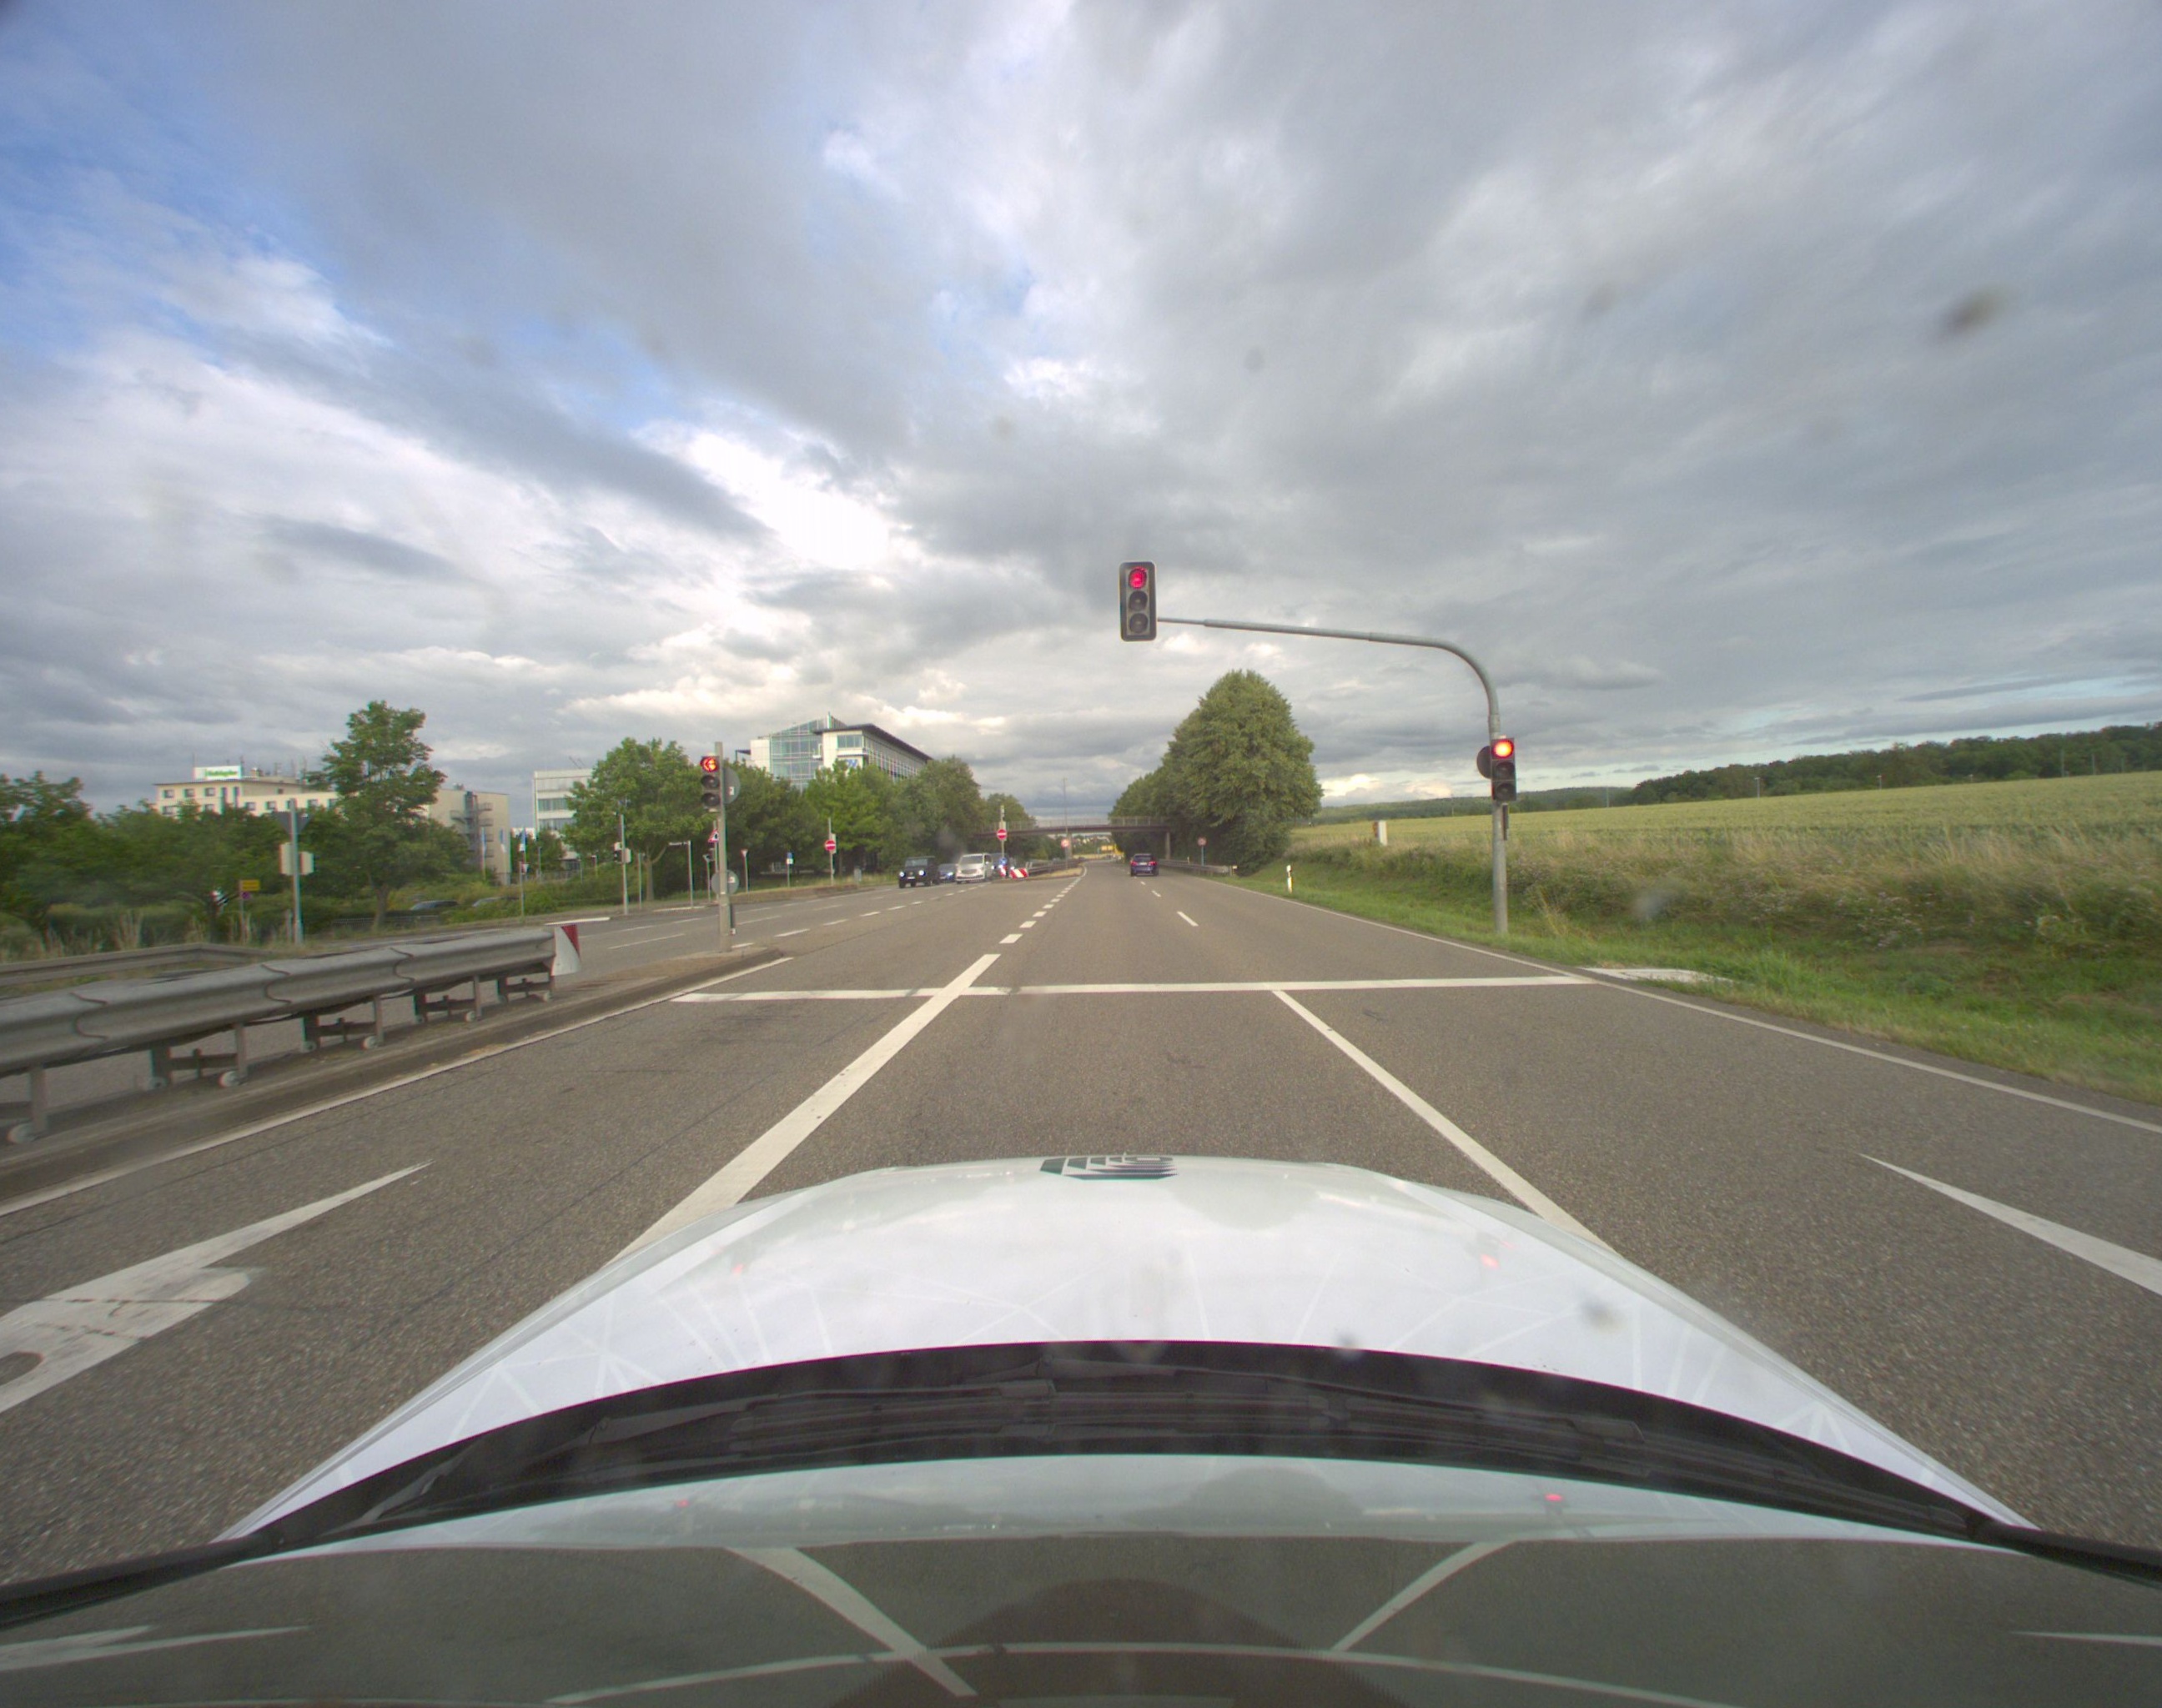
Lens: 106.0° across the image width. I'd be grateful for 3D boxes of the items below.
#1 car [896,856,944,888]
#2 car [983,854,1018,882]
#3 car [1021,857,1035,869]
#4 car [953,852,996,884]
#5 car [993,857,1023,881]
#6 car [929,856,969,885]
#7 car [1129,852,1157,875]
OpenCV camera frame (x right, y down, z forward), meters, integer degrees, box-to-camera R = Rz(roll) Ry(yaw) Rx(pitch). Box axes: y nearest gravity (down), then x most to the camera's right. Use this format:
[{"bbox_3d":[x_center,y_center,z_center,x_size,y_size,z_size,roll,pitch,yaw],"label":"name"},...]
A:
[{"bbox_3d":[-10.600,1.162,53.930,2.076,2.014,5.216,0,0,1],"label":"car"},{"bbox_3d":[-6.066,1.022,61.677,2.076,2.014,5.216,0,0,1],"label":"car"},{"bbox_3d":[-9.060,1.576,139.537,2.076,2.014,5.216,0,0,1],"label":"car"},{"bbox_3d":[-6.980,0.926,53.957,2.076,2.014,5.216,0,0,1],"label":"car"},{"bbox_3d":[-6.151,1.248,69.247,2.076,2.014,5.216,0,0,1],"label":"car"},{"bbox_3d":[-9.906,1.214,61.419,2.076,2.014,5.216,0,0,1],"label":"car"},{"bbox_3d":[4.295,0.634,56.665,1.871,1.552,4.005,0,0,4],"label":"car"}]
